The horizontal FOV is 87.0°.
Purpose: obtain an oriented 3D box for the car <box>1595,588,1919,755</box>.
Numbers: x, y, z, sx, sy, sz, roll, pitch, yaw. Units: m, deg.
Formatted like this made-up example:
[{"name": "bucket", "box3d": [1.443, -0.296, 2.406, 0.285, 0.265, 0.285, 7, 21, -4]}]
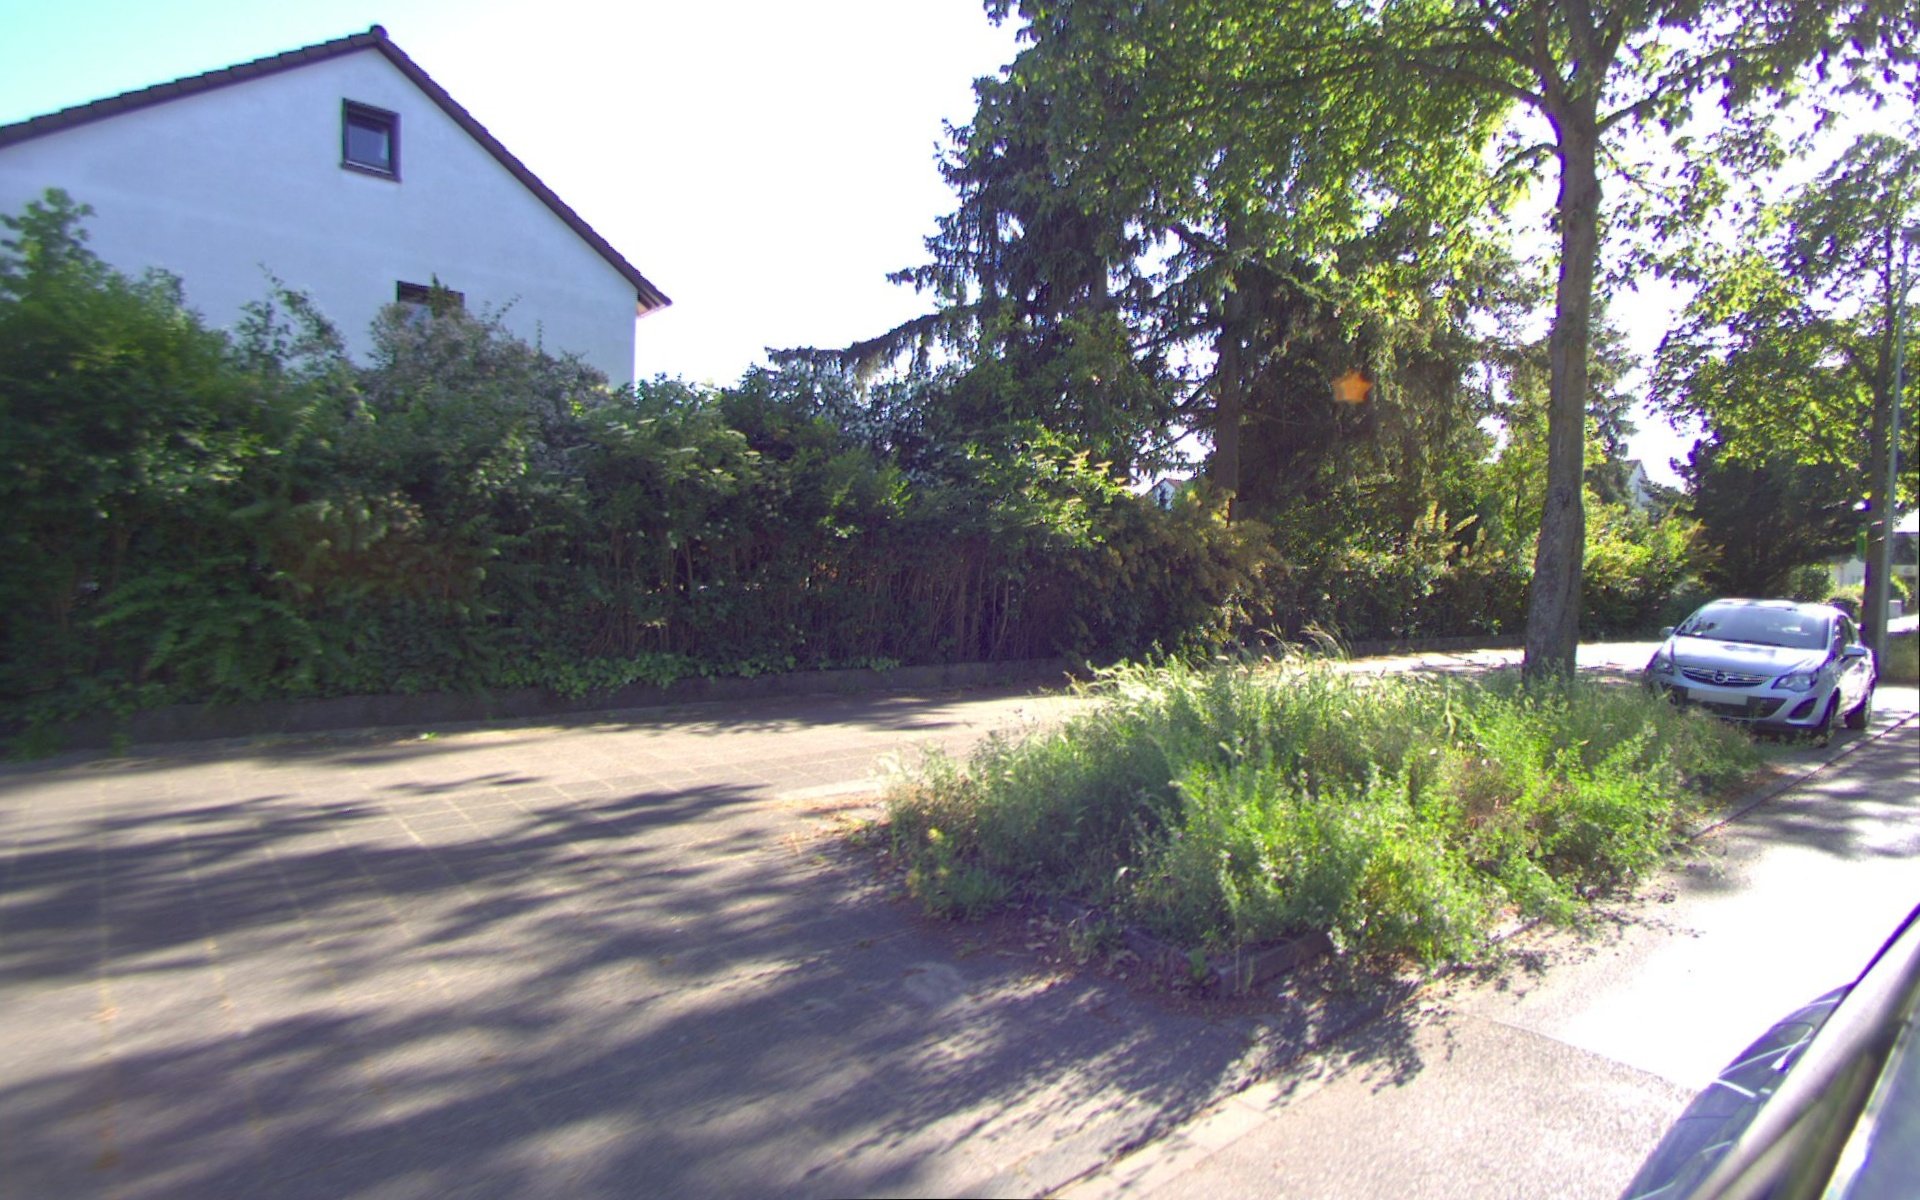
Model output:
[{"name": "car", "box3d": [9.490, 0.681, 11.877, 3.923, 1.528, 2.001, -1, 3, -34]}]
